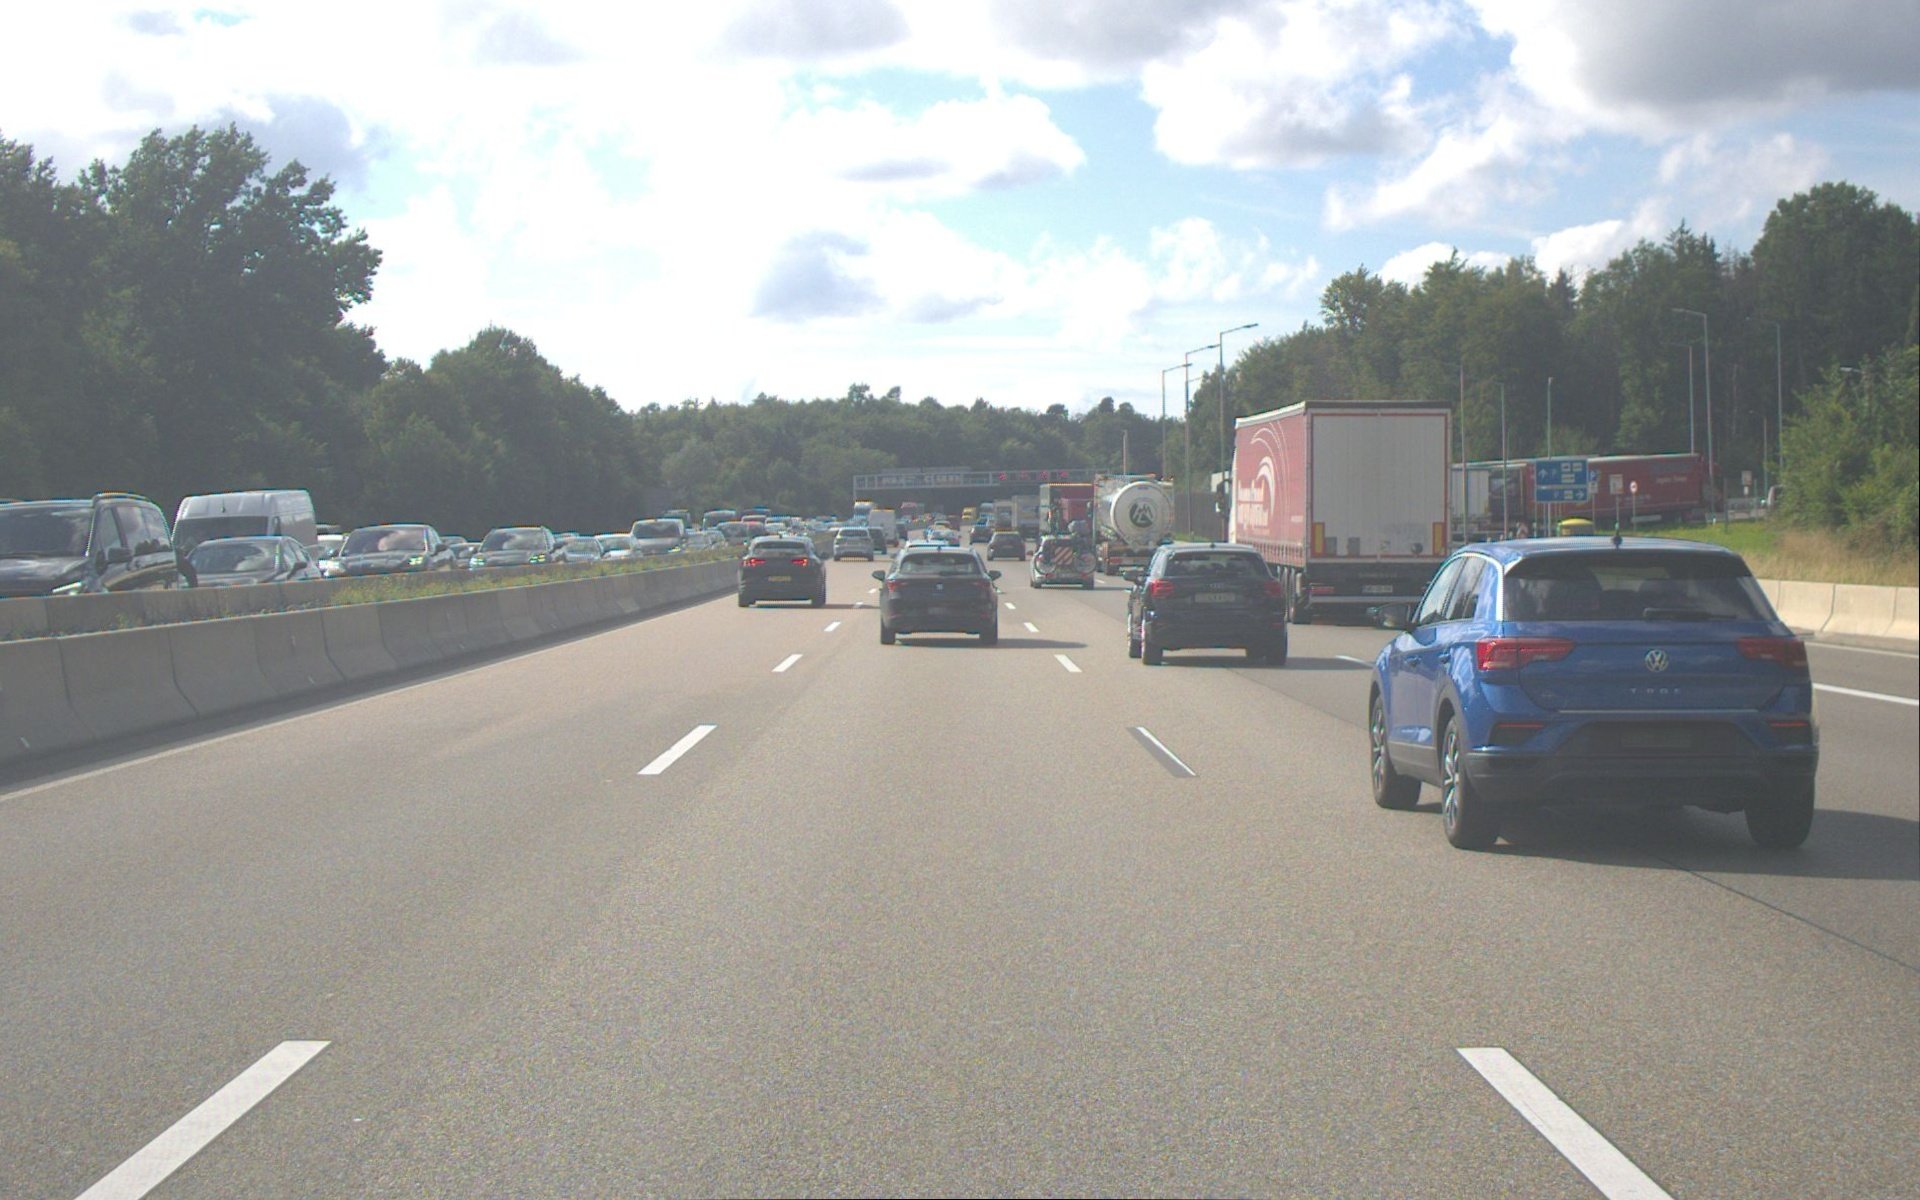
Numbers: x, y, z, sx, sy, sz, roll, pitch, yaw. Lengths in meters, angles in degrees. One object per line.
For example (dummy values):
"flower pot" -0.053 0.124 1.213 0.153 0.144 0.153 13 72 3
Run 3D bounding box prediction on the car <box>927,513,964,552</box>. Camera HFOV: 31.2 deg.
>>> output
"car" -0.816 -3.700 188.460 1.993 2.007 4.000 -1 0 0

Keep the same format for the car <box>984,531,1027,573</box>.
"car" 2.236 -2.378 169.961 1.993 2.007 4.000 1 0 0

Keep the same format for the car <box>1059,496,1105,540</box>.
"car" 5.893 -3.944 166.347 1.993 2.007 4.000 1 0 0

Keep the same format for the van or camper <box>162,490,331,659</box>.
"van or camper" -14.058 -0.547 68.095 2.138 3.161 6.245 1 1 -1

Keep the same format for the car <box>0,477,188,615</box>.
"car" -9.833 -0.598 36.874 1.814 1.344 6.233 1 1 -1

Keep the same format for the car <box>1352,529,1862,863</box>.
"car" 3.291 0.462 18.411 1.924 1.536 4.645 1 0 1

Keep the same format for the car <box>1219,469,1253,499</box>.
"car" 19.100 -8.008 237.935 1.993 2.007 4.000 -1 1 0

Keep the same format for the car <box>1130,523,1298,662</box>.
"car" 3.164 -0.104 43.454 1.799 1.639 4.000 1 0 0

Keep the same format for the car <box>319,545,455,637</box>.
"car" -10.463 -0.188 63.035 1.836 1.585 4.289 1 1 -1

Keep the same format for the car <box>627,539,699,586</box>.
"car" -10.264 -1.317 119.000 1.993 1.567 4.815 0 1 1

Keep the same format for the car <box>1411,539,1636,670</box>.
"car" 6.859 0.033 42.269 1.715 1.506 4.303 -1 0 -5

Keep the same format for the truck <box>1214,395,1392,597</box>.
"truck" 7.191 -2.118 72.928 3.080 4.049 6.070 1 0 0

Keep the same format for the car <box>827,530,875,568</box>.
"car" -5.316 -2.470 167.836 2.154 1.770 4.000 1 0 0

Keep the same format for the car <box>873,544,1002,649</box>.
"car" -0.367 -0.084 51.407 1.734 1.360 4.001 1 3 -3

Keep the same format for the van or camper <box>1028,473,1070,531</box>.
"van or camper" 5.160 -5.691 200.415 2.351 3.133 5.710 1 0 1

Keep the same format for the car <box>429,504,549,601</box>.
"car" -10.194 -1.035 74.724 1.882 2.007 4.519 1 1 1

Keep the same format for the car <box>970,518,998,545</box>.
"car" 1.769 -5.097 256.338 1.993 2.007 4.000 1 1 0

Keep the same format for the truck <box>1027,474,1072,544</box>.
"truck" 5.011 -5.077 193.477 2.358 3.560 11.266 1 0 1

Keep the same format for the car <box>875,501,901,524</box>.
"car" -4.970 -6.050 237.423 1.623 1.465 3.815 1 1 0

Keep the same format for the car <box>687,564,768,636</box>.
"car" -6.659 -0.028 98.873 1.993 1.914 4.000 1 2 1

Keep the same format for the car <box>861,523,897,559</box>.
"car" -4.644 -3.364 197.241 1.993 2.007 4.000 1 1 0

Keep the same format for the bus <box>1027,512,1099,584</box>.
"bus" 3.039 -1.514 101.708 1.993 2.007 4.000 1 0 0

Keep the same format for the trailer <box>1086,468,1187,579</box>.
"trailer" 6.616 -2.798 130.620 3.036 4.002 12.246 0 0 -1

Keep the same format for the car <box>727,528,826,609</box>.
"car" -4.098 -0.722 77.354 1.993 1.770 4.000 0 1 0

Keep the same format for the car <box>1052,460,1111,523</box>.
"car" 6.191 -5.503 175.560 2.866 2.981 5.149 1 0 1

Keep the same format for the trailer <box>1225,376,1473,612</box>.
"trailer" 7.246 -1.809 66.226 3.038 4.021 13.890 1 0 0
